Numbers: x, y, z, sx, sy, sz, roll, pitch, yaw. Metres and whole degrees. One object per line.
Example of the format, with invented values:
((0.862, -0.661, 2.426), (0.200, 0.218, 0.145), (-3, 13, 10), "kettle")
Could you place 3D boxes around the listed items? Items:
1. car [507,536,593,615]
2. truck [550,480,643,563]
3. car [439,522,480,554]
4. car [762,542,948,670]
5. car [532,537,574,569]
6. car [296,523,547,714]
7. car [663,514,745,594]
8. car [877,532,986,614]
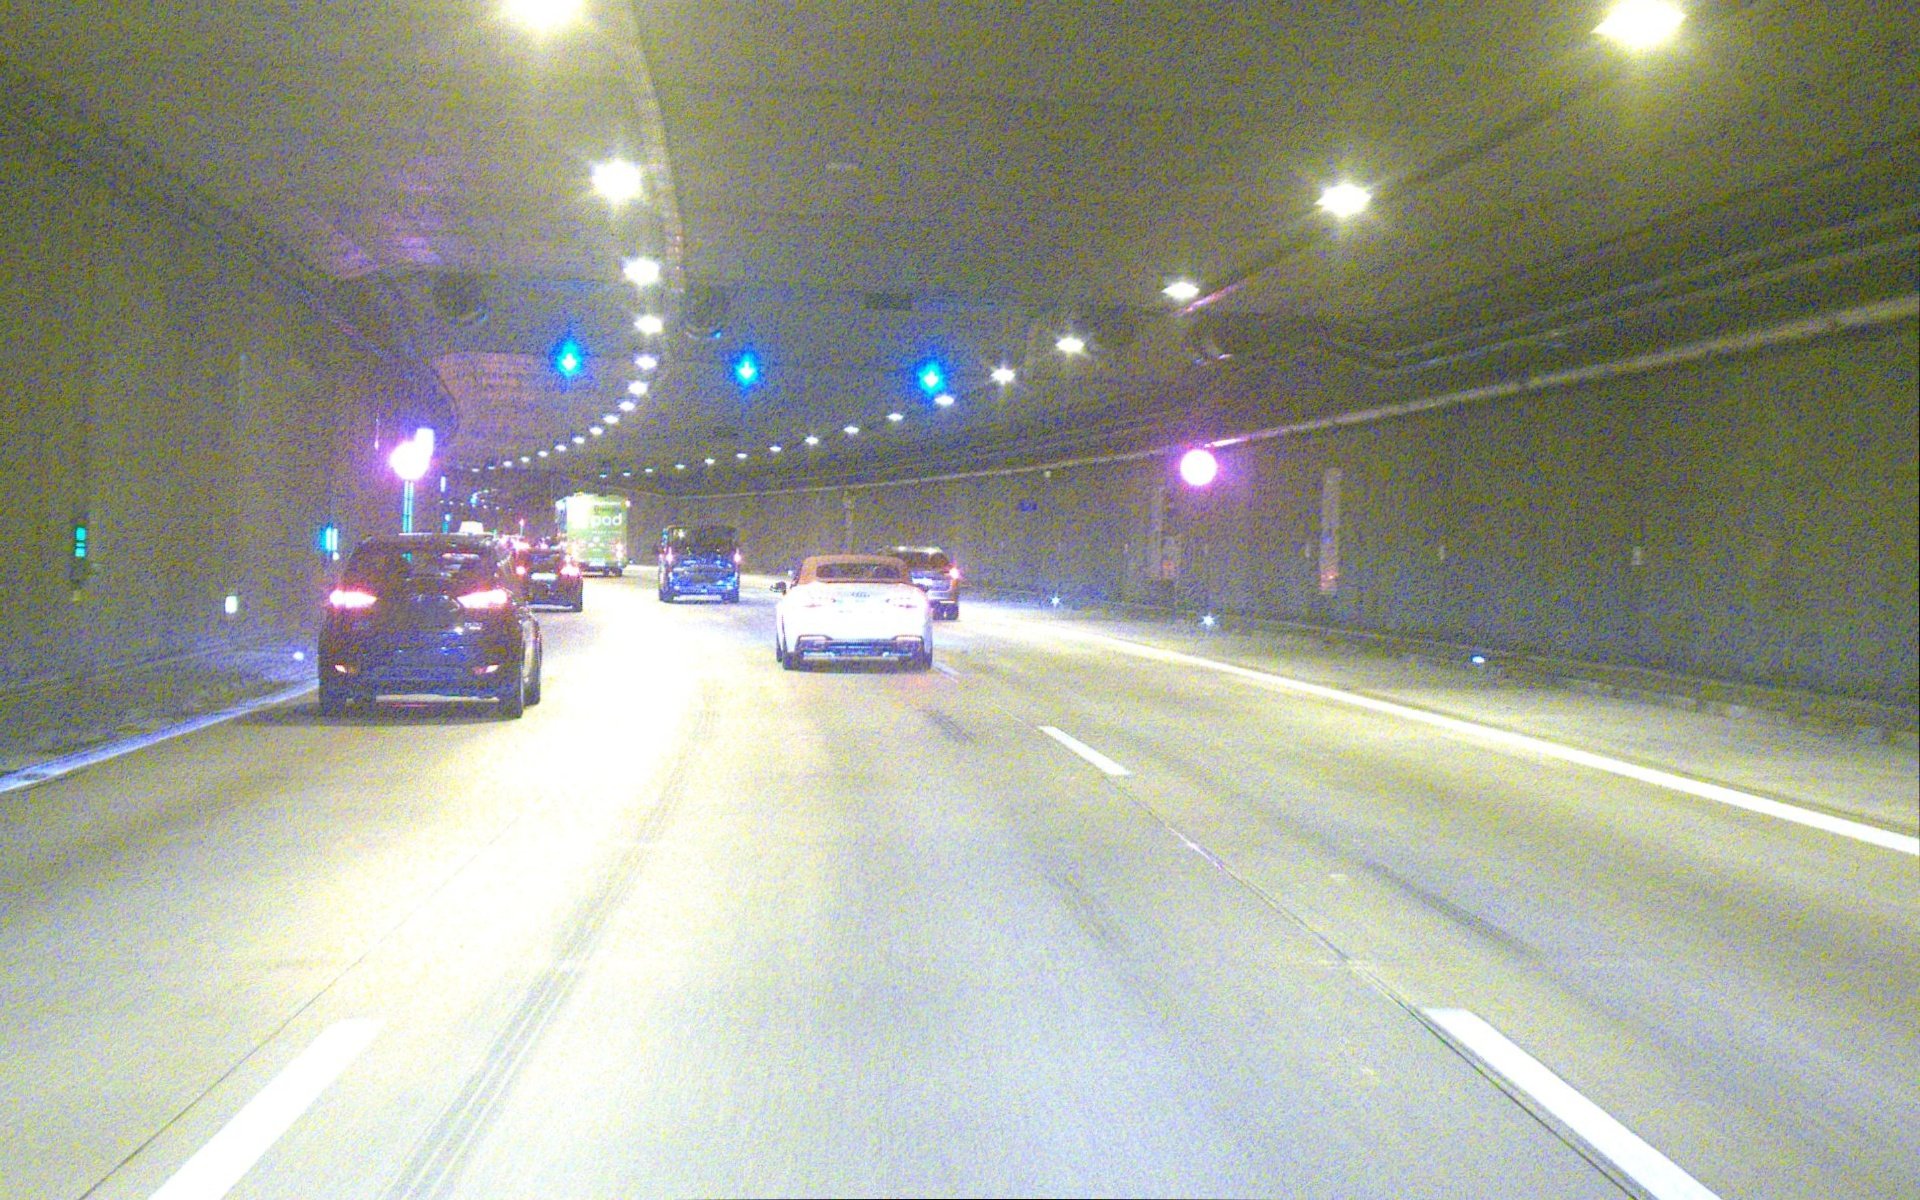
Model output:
((-9.091, -0.560, 76.038), (1.800, 1.678, 4.001), (1, 1, -8), "car")
((-14.612, -3.173, 137.708), (3.082, 3.102, 10.032), (2, 2, -9), "truck")
((-25.352, -3.145, 174.050), (1.993, 1.525, 4.001), (2, 0, -9), "car")
((-1.353, 0.035, 42.572), (1.993, 1.478, 4.001), (1, 1, -6), "car")
((-23.726, -2.736, 200.207), (1.993, 1.748, 4.001), (2, 0, -13), "car")
((-4.769, 0.128, 30.901), (1.785, 1.593, 3.802), (1, 1, -2), "car")
((-6.466, -1.153, 86.467), (1.993, 1.965, 4.001), (0, 1, -5), "car")
((-0.614, -0.566, 70.143), (1.839, 1.597, 4.001), (1, 1, -6), "car")
